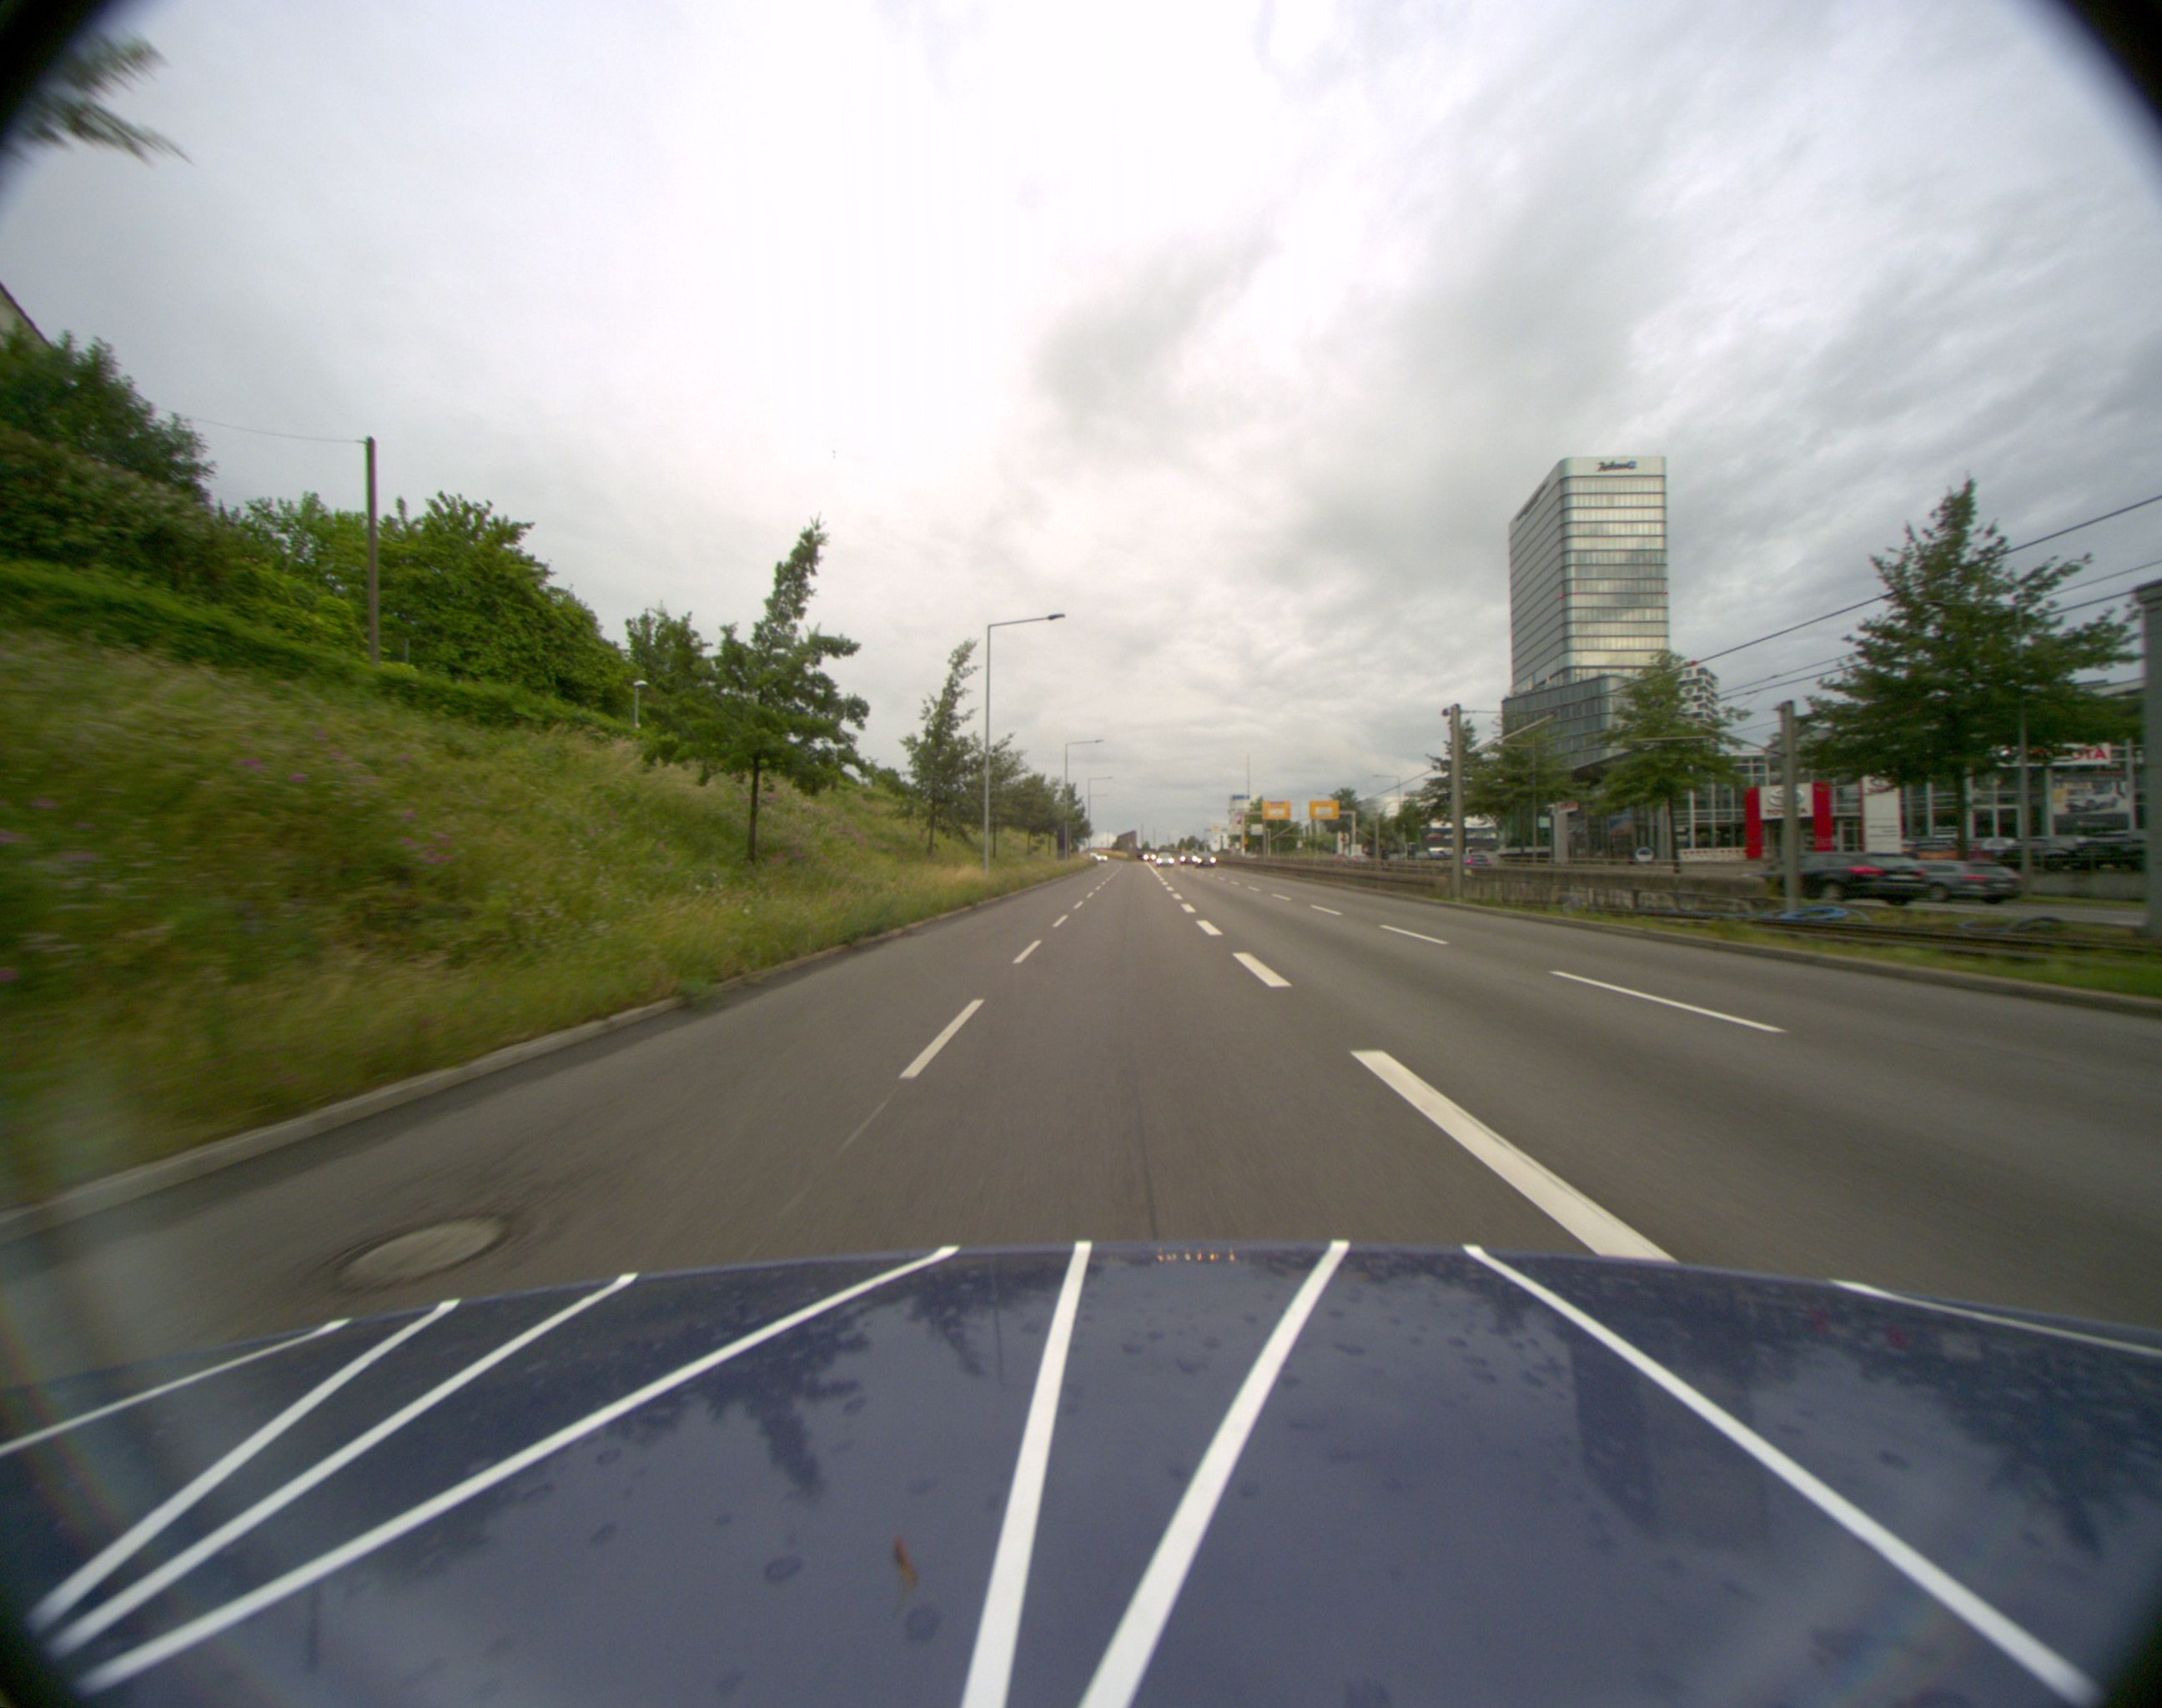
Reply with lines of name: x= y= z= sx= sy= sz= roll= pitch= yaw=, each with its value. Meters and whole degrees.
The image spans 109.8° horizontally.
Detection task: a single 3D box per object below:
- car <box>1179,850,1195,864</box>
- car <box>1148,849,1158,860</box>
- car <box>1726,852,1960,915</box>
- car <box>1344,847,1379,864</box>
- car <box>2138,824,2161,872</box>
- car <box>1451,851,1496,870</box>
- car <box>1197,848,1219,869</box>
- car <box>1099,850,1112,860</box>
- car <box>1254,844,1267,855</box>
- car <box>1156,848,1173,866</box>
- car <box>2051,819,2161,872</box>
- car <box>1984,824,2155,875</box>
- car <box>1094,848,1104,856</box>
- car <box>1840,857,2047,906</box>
car: x=12.719 y=0.348 z=91.508 sx=1.793 sy=1.535 sz=4.379 roll=-2 pitch=1 yaw=7
car: x=13.328 y=0.060 z=140.706 sx=1.793 sy=1.858 sz=4.379 roll=-2 pitch=1 yaw=7
car: x=21.518 y=0.783 z=21.839 sx=2.052 sy=1.530 sz=4.761 roll=-2 pitch=-1 yaw=3
car: x=25.429 y=0.144 z=68.995 sx=1.793 sy=1.392 sz=4.876 roll=-2 pitch=1 yaw=5
car: x=41.622 y=-0.274 z=27.301 sx=4.194 sy=1.762 sz=1.886 roll=-2 pitch=1 yaw=8
car: x=30.573 y=0.462 z=59.332 sx=1.770 sy=1.302 sz=4.112 roll=-2 pitch=1 yaw=6
car: x=12.165 y=0.366 z=72.748 sx=1.793 sy=1.858 sz=4.379 roll=-2 pitch=1 yaw=7
car: x=4.358 y=0.226 z=133.205 sx=1.793 sy=1.621 sz=4.379 roll=-2 pitch=1 yaw=7
car: x=31.785 y=-0.776 z=134.773 sx=1.793 sy=1.858 sz=4.379 roll=-2 pitch=1 yaw=7
car: x=9.242 y=0.300 z=84.175 sx=1.793 sy=1.858 sz=4.379 roll=-2 pitch=1 yaw=7
car: x=41.699 y=-0.376 z=29.845 sx=4.361 sy=1.936 sz=1.886 roll=-2 pitch=1 yaw=8
car: x=41.825 y=-0.194 z=32.243 sx=4.361 sy=1.936 sz=1.886 roll=-2 pitch=1 yaw=8
car: x=3.610 y=-0.452 z=153.676 sx=1.793 sy=1.621 sz=4.378 roll=-2 pitch=1 yaw=4
car: x=30.050 y=0.912 z=26.749 sx=2.052 sy=1.520 sz=4.567 roll=-2 pitch=-1 yaw=-1
